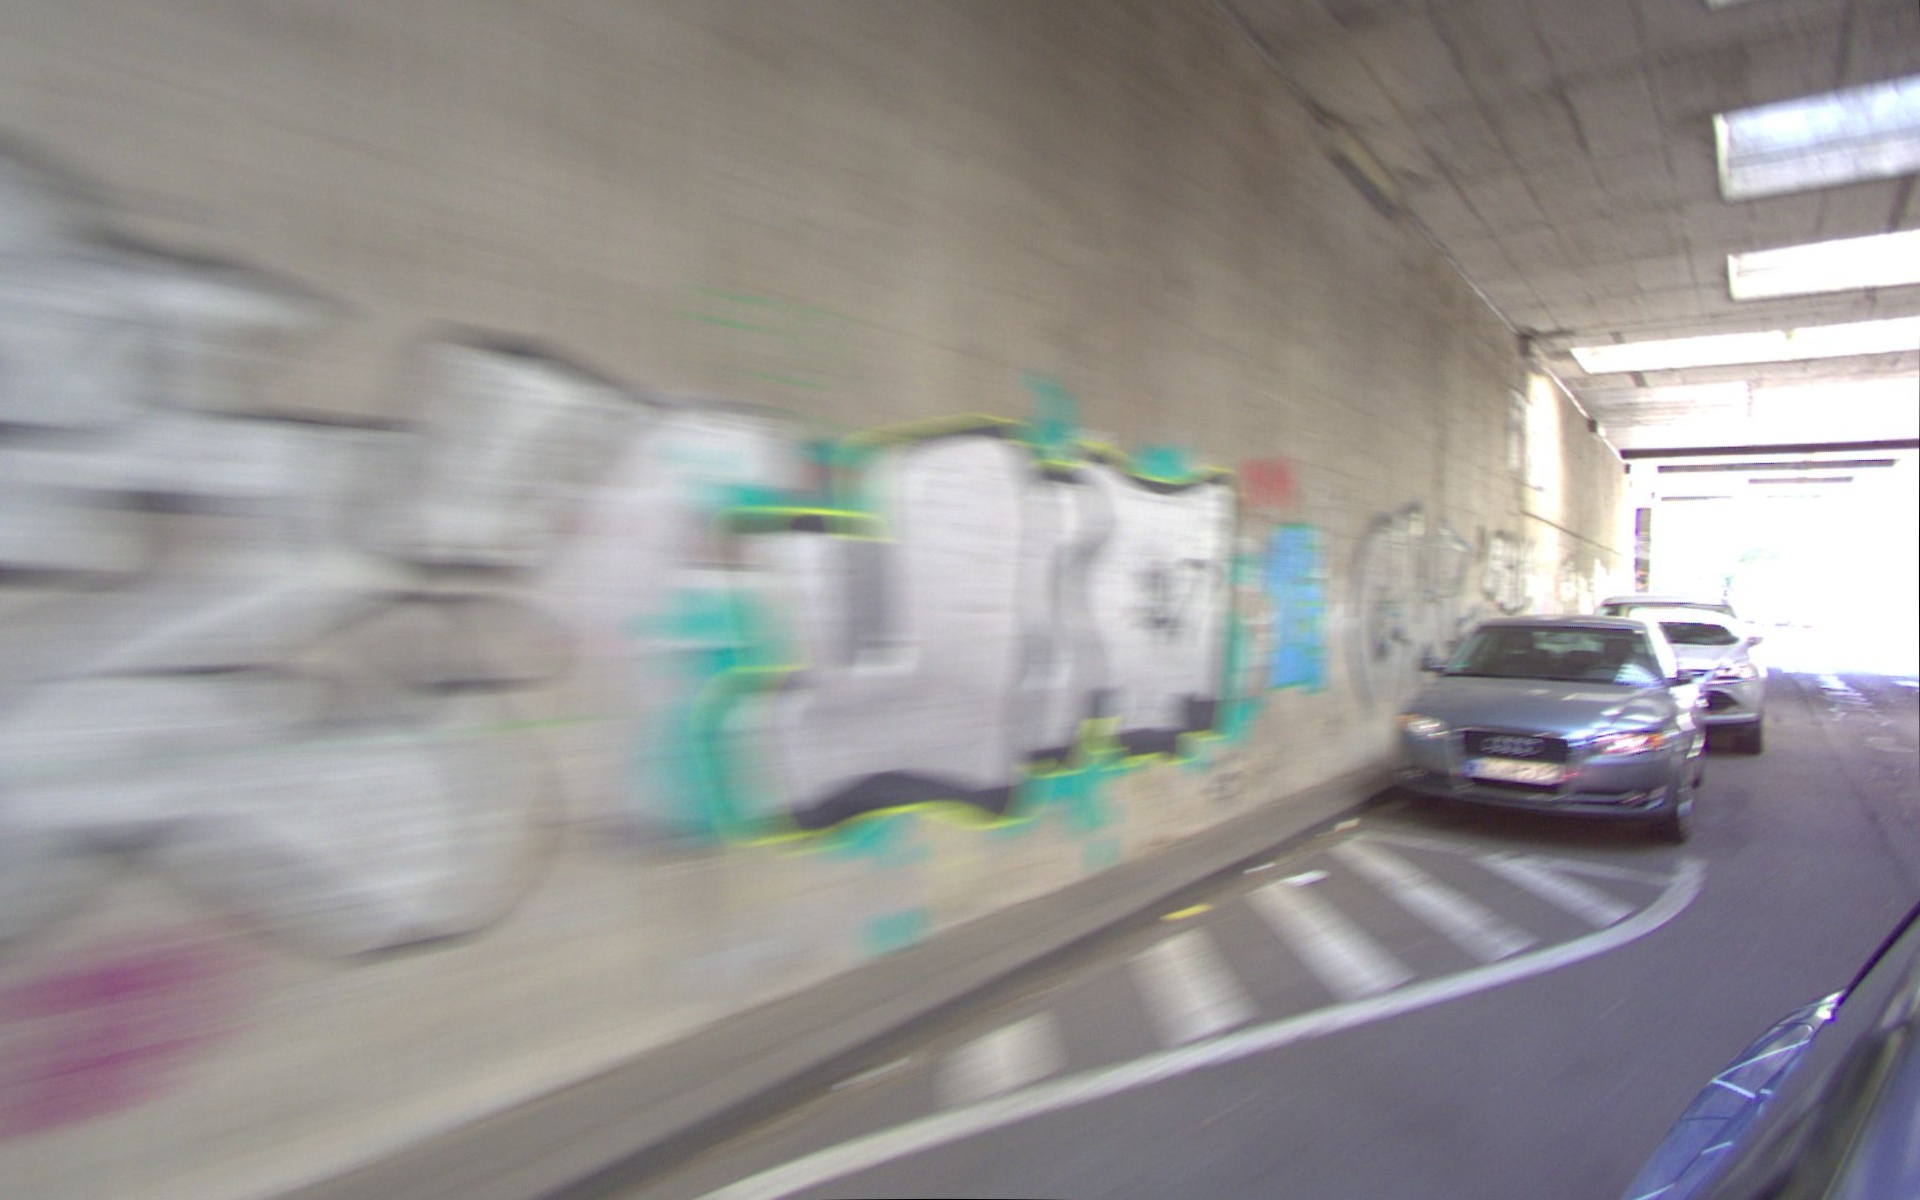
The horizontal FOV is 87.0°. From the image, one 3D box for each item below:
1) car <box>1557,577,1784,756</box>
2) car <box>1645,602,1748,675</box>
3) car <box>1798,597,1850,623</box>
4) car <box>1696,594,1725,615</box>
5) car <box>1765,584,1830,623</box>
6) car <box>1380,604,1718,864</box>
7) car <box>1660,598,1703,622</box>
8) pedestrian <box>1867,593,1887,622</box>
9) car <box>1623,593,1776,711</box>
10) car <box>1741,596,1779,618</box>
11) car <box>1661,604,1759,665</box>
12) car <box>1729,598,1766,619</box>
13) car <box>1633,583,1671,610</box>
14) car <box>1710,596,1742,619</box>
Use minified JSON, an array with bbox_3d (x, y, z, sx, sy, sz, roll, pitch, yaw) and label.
[{"bbox_3d":[8.418,0.641,11.897,1.849,1.687,4.310,2,0,38],"label":"car"},{"bbox_3d":[17.057,0.823,23.398,1.758,1.428,4.008,2,2,38],"label":"car"},{"bbox_3d":[53.079,0.607,62.241,1.678,1.480,3.959,2,1,29],"label":"car"},{"bbox_3d":[71.637,0.392,96.654,1.763,1.905,3.957,2,1,30],"label":"car"},{"bbox_3d":[55.667,0.193,67.358,2.199,2.481,5.047,2,1,27],"label":"car"},{"bbox_3d":[4.771,0.754,7.857,1.698,1.391,4.313,1,1,38],"label":"car"},{"bbox_3d":[48.657,0.681,68.333,1.764,1.458,3.960,6,2,28],"label":"car"},{"bbox_3d":[51.565,0.431,56.904,0.520,1.596,0.635,1,1,-26],"label":"pedestrian"},{"bbox_3d":[11.773,0.706,16.222,1.725,1.565,4.103,2,2,35],"label":"car"},{"bbox_3d":[61.466,0.526,77.778,1.681,1.576,3.782,2,1,29],"label":"car"},{"bbox_3d":[20.390,0.863,27.440,1.849,1.451,4.540,0,0,40],"label":"car"},{"bbox_3d":[63.358,0.654,81.449,1.770,1.576,3.782,2,1,29],"label":"car"},{"bbox_3d":[55.539,-0.232,81.246,1.979,2.055,4.261,2,0,28],"label":"car"},{"bbox_3d":[68.790,0.672,90.877,1.763,1.905,3.957,2,1,30],"label":"car"}]
